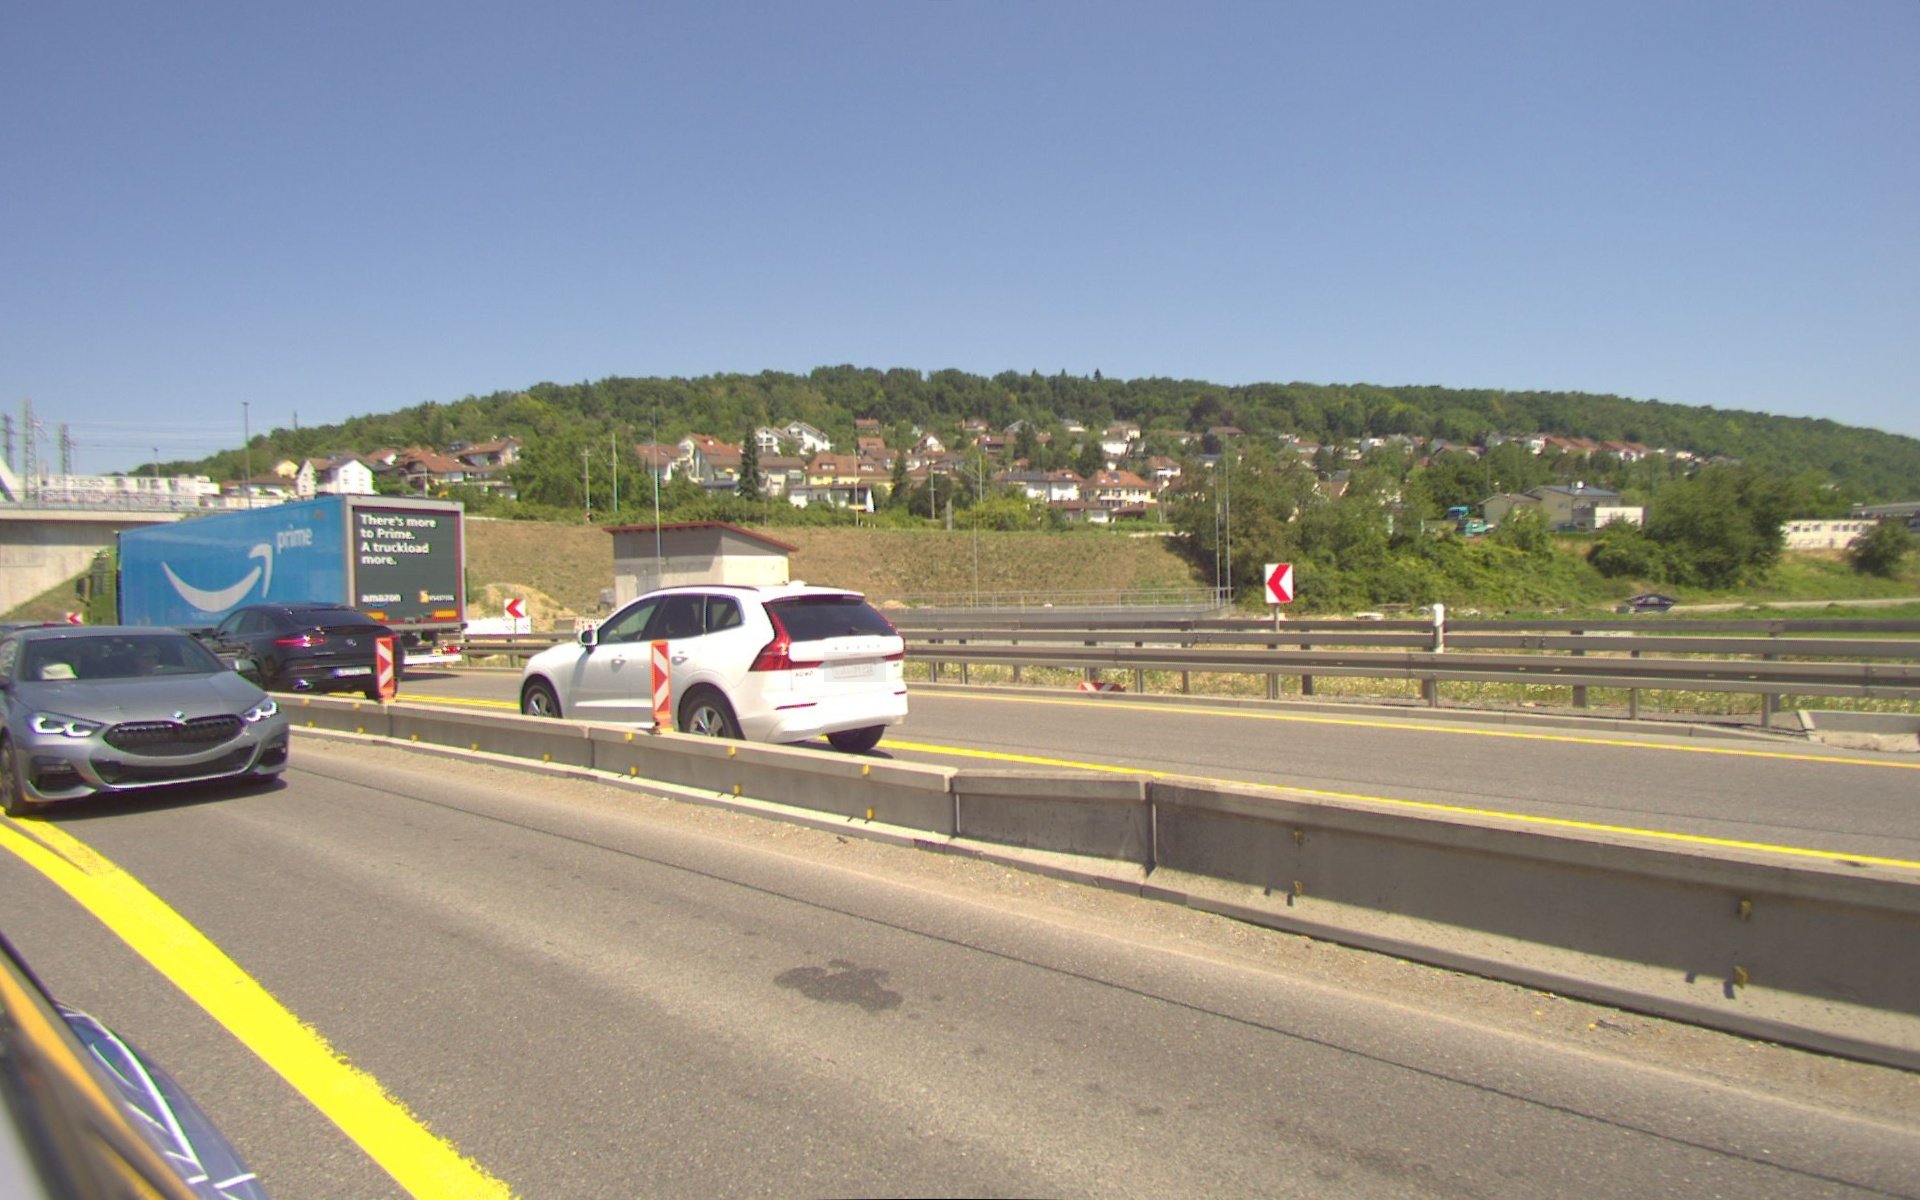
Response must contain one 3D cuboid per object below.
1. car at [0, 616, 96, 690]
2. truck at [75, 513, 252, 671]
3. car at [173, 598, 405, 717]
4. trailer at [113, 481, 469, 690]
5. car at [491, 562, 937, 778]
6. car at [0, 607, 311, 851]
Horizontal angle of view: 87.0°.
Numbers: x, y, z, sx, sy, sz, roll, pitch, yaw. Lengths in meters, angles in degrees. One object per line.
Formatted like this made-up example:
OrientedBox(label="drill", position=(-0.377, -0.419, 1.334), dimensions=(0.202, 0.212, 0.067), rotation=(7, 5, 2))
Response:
OrientedBox(label="car", position=(-23.124, 1.244, 25.011), dimensions=(4.294, 1.596, 1.803), rotation=(-1, 1, 38))
OrientedBox(label="truck", position=(-23.553, -0.243, 29.893), dimensions=(4.718, 4.302, 2.605), rotation=(-1, 2, 33))
OrientedBox(label="car", position=(-11.254, 0.896, 16.850), dimensions=(4.709, 1.659, 1.863), rotation=(-2, 0, 39))
OrientedBox(label="trailer", position=(-17.467, -0.297, 25.729), dimensions=(13.275, 4.324, 2.626), rotation=(-1, 2, 35))
OrientedBox(label="car", position=(-2.579, 0.616, 9.918), dimensions=(4.565, 1.659, 1.803), rotation=(-3, -1, 39))
OrientedBox(label="car", position=(-7.604, 0.914, 8.967), dimensions=(4.384, 1.609, 1.816), rotation=(-1, 1, 39))
